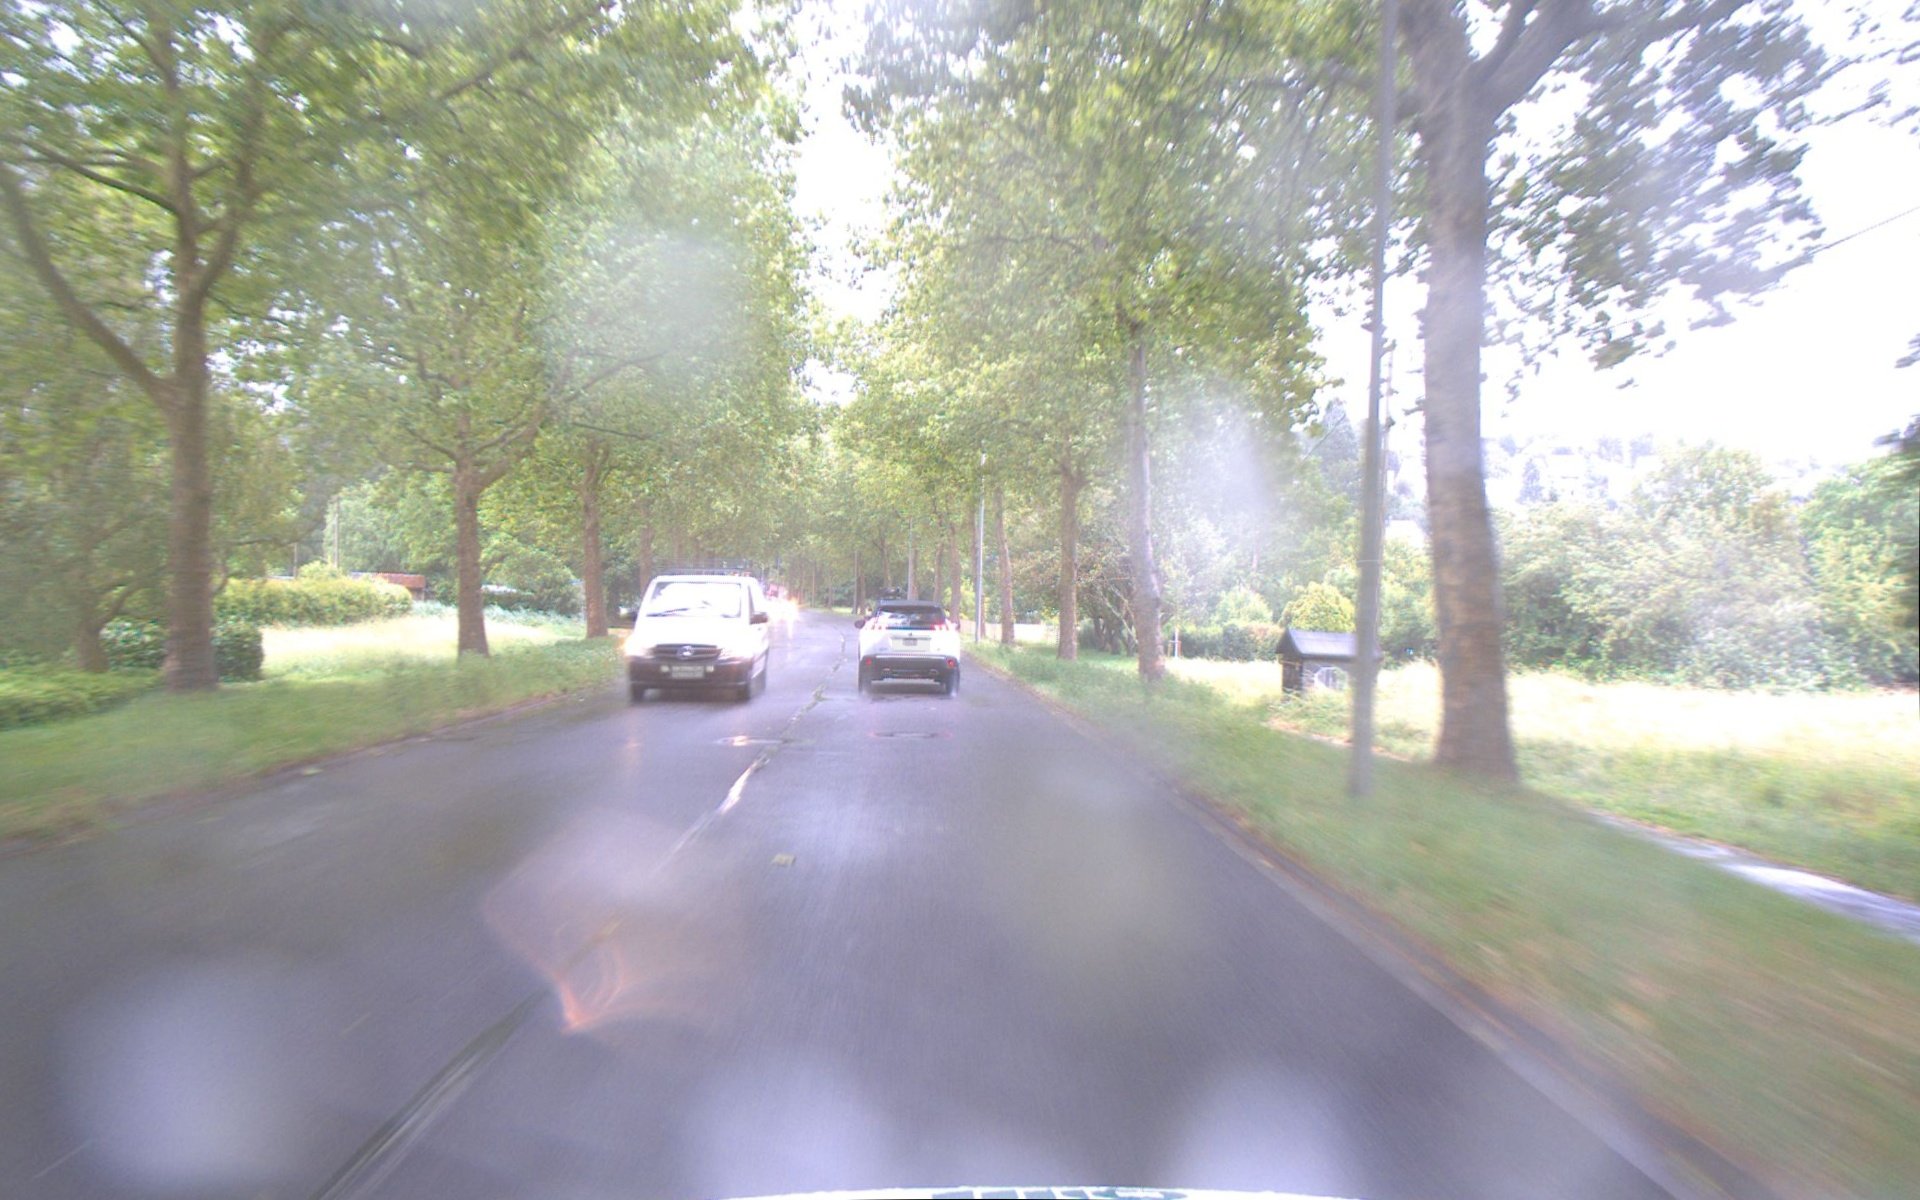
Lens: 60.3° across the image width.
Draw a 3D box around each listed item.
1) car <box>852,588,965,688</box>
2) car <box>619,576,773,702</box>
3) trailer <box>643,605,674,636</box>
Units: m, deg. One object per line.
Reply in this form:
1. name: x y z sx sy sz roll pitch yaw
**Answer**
1. car: -0.853 0.616 29.410 1.757 1.606 3.845 2 0 1
2. car: -4.125 0.569 26.573 1.825 1.780 5.013 2 0 -3
3. trailer: -26.683 1.816 146.471 2.438 2.612 5.323 2 0 -8
